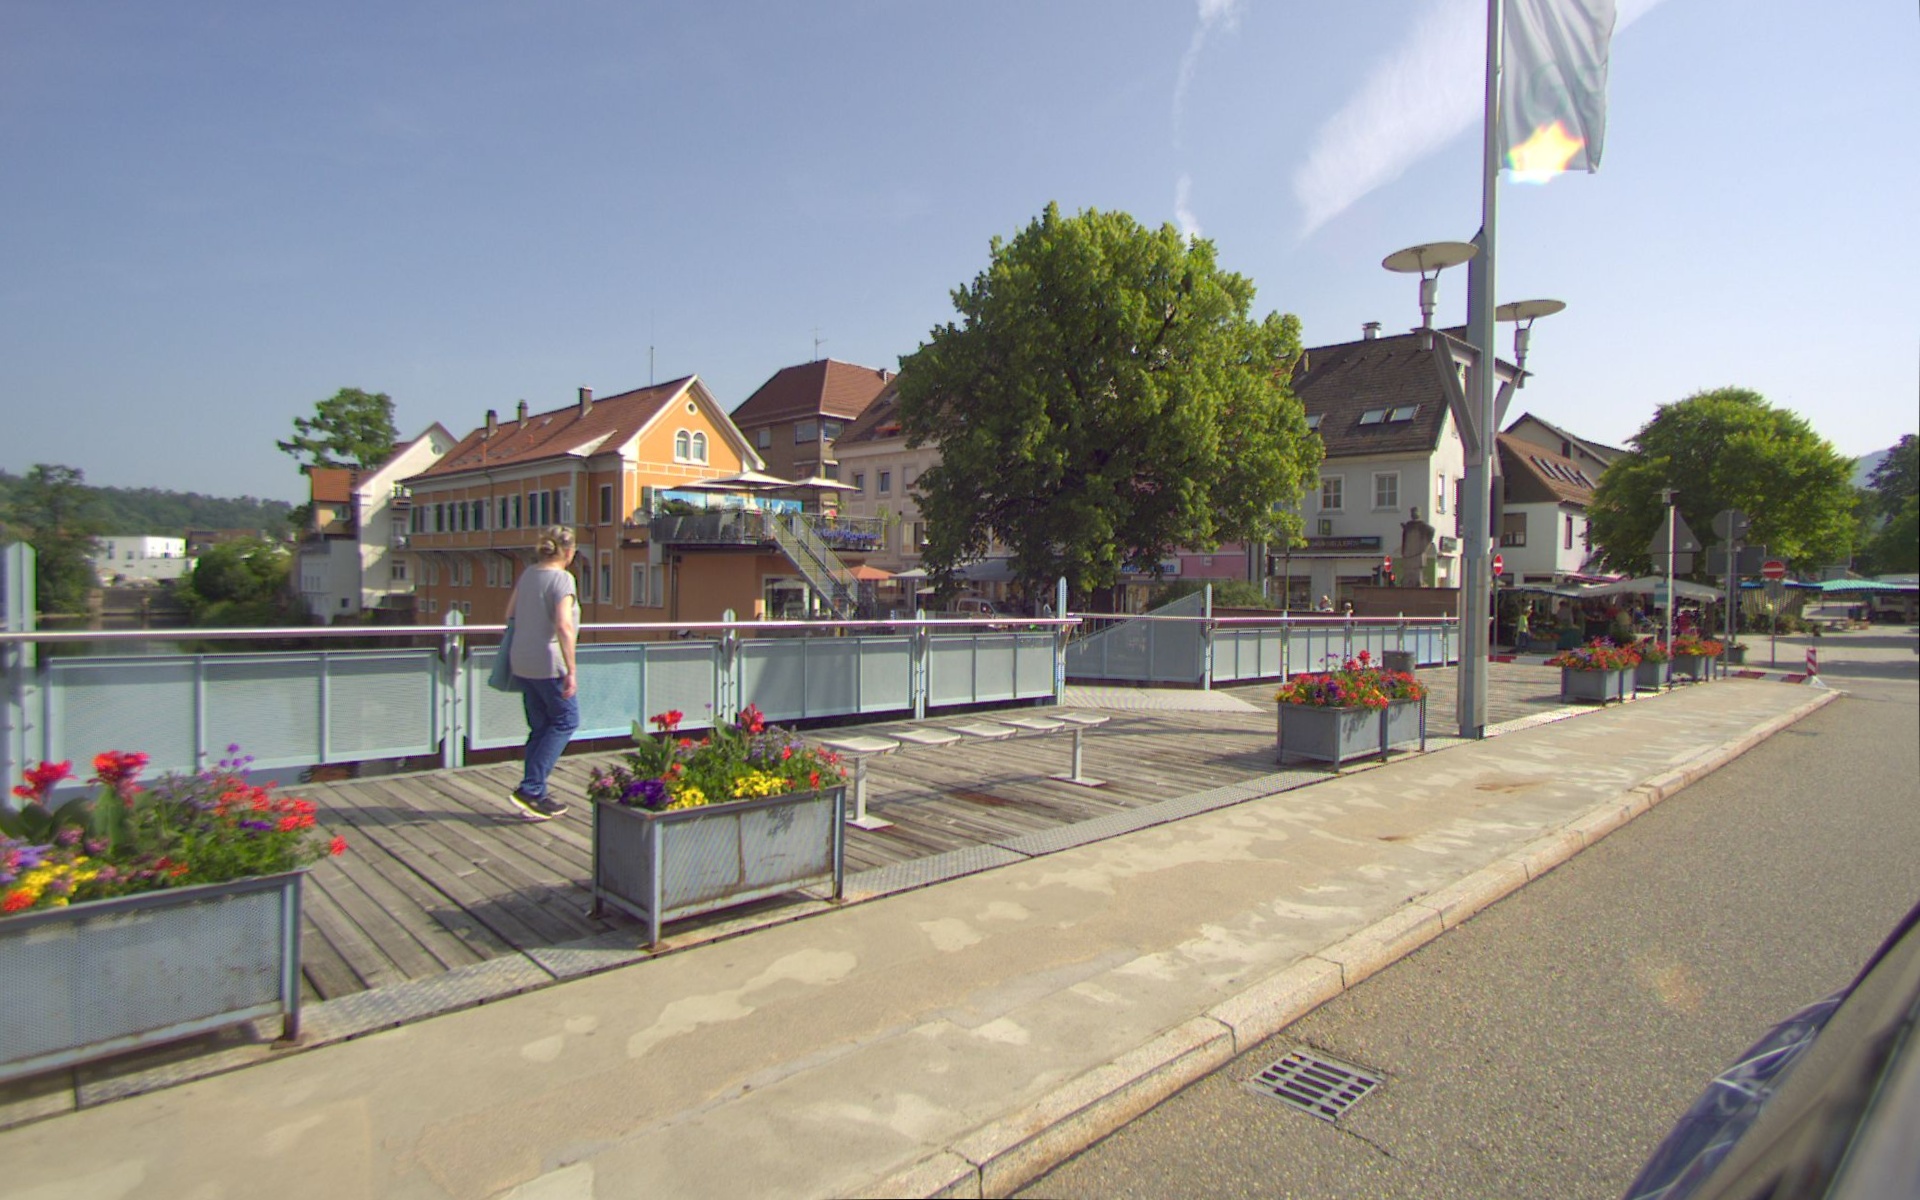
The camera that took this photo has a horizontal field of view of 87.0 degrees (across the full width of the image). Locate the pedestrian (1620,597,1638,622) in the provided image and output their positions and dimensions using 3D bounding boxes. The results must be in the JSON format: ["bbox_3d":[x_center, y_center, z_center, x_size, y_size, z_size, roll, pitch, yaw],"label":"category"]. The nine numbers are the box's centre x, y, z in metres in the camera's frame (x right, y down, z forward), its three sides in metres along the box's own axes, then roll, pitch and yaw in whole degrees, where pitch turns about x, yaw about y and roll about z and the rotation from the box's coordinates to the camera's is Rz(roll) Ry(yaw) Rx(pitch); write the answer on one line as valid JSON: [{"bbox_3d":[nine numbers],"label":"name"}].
[{"bbox_3d":[34.371,0.478,51.993,0.640,1.215,0.571,-1,4,-44],"label":"pedestrian"}]

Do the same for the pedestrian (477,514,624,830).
[{"bbox_3d":[-2.305,0.369,5.684,0.553,1.639,0.667,1,0,-42],"label":"pedestrian"}]

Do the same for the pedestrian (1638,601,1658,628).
[{"bbox_3d":[32.675,0.698,48.086,0.694,1.215,0.566,3,3,31],"label":"pedestrian"}]

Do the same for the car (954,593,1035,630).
[{"bbox_3d":[1.790,0.560,53.133,4.130,1.760,1.686,1,2,43],"label":"car"}]

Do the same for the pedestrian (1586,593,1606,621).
[{"bbox_3d":[32.191,0.351,51.238,0.687,1.347,0.626,-1,4,-42],"label":"pedestrian"}]

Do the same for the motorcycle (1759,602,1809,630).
[{"bbox_3d":[40.147,0.764,49.350,0.631,1.210,2.008,2,3,-4],"label":"motorcycle"}]

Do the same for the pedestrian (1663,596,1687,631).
[{"bbox_3d":[33.900,0.626,47.981,0.562,1.572,0.699,0,3,-39],"label":"pedestrian"}]

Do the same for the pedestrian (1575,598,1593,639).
[{"bbox_3d":[25.691,0.762,41.676,0.520,1.647,0.697,1,0,40],"label":"pedestrian"}]

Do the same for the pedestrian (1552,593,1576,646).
[{"bbox_3d":[23.553,0.750,39.464,0.699,2.010,0.647,1,0,24],"label":"pedestrian"}]

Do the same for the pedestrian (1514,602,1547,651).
[{"bbox_3d":[20.277,0.922,35.963,0.776,1.652,0.857,-3,3,-44],"label":"pedestrian"}]

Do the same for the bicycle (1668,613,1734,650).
[{"bbox_3d":[26.837,1.131,36.687,1.848,1.250,0.610,1,0,32],"label":"bicycle"}]

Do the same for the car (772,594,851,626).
[{"bbox_3d":[-8.022,0.521,54.437,4.577,1.617,1.724,1,1,43],"label":"car"}]

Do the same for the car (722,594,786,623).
[{"bbox_3d":[-11.845,0.471,58.160,1.657,1.578,4.092,-1,1,-45],"label":"car"}]

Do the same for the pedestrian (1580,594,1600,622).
[{"bbox_3d":[31.612,0.399,50.747,0.687,1.347,0.626,-1,4,-42],"label":"pedestrian"}]

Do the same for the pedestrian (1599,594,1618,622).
[{"bbox_3d":[32.998,0.407,51.491,0.687,1.347,0.626,-1,4,-42],"label":"pedestrian"}]

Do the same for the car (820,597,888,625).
[{"bbox_3d":[-6.164,0.638,58.406,3.986,1.466,1.708,2,1,43],"label":"car"}]

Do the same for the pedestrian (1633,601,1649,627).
[{"bbox_3d":[32.956,0.680,48.977,0.568,1.215,0.643,4,3,34],"label":"pedestrian"}]

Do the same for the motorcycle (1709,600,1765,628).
[{"bbox_3d":[37.951,0.687,49.469,0.631,1.210,2.008,0,4,-32],"label":"motorcycle"}]

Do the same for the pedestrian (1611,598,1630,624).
[{"bbox_3d":[32.607,0.547,49.962,0.640,1.215,0.571,-1,4,-44],"label":"pedestrian"}]

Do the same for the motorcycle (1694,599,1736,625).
[{"bbox_3d":[37.955,0.589,50.880,1.529,1.210,0.633,5,4,45],"label":"motorcycle"}]

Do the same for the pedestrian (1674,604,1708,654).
[{"bbox_3d":[25.912,1.004,35.892,0.879,1.678,0.565,4,3,37],"label":"pedestrian"}]

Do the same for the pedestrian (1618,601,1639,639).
[{"bbox_3d":[27.804,0.827,42.099,0.616,1.537,0.627,1,0,27],"label":"pedestrian"}]

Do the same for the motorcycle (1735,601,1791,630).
[{"bbox_3d":[39.034,0.750,49.221,0.631,1.210,2.008,1,3,-32],"label":"motorcycle"}]
